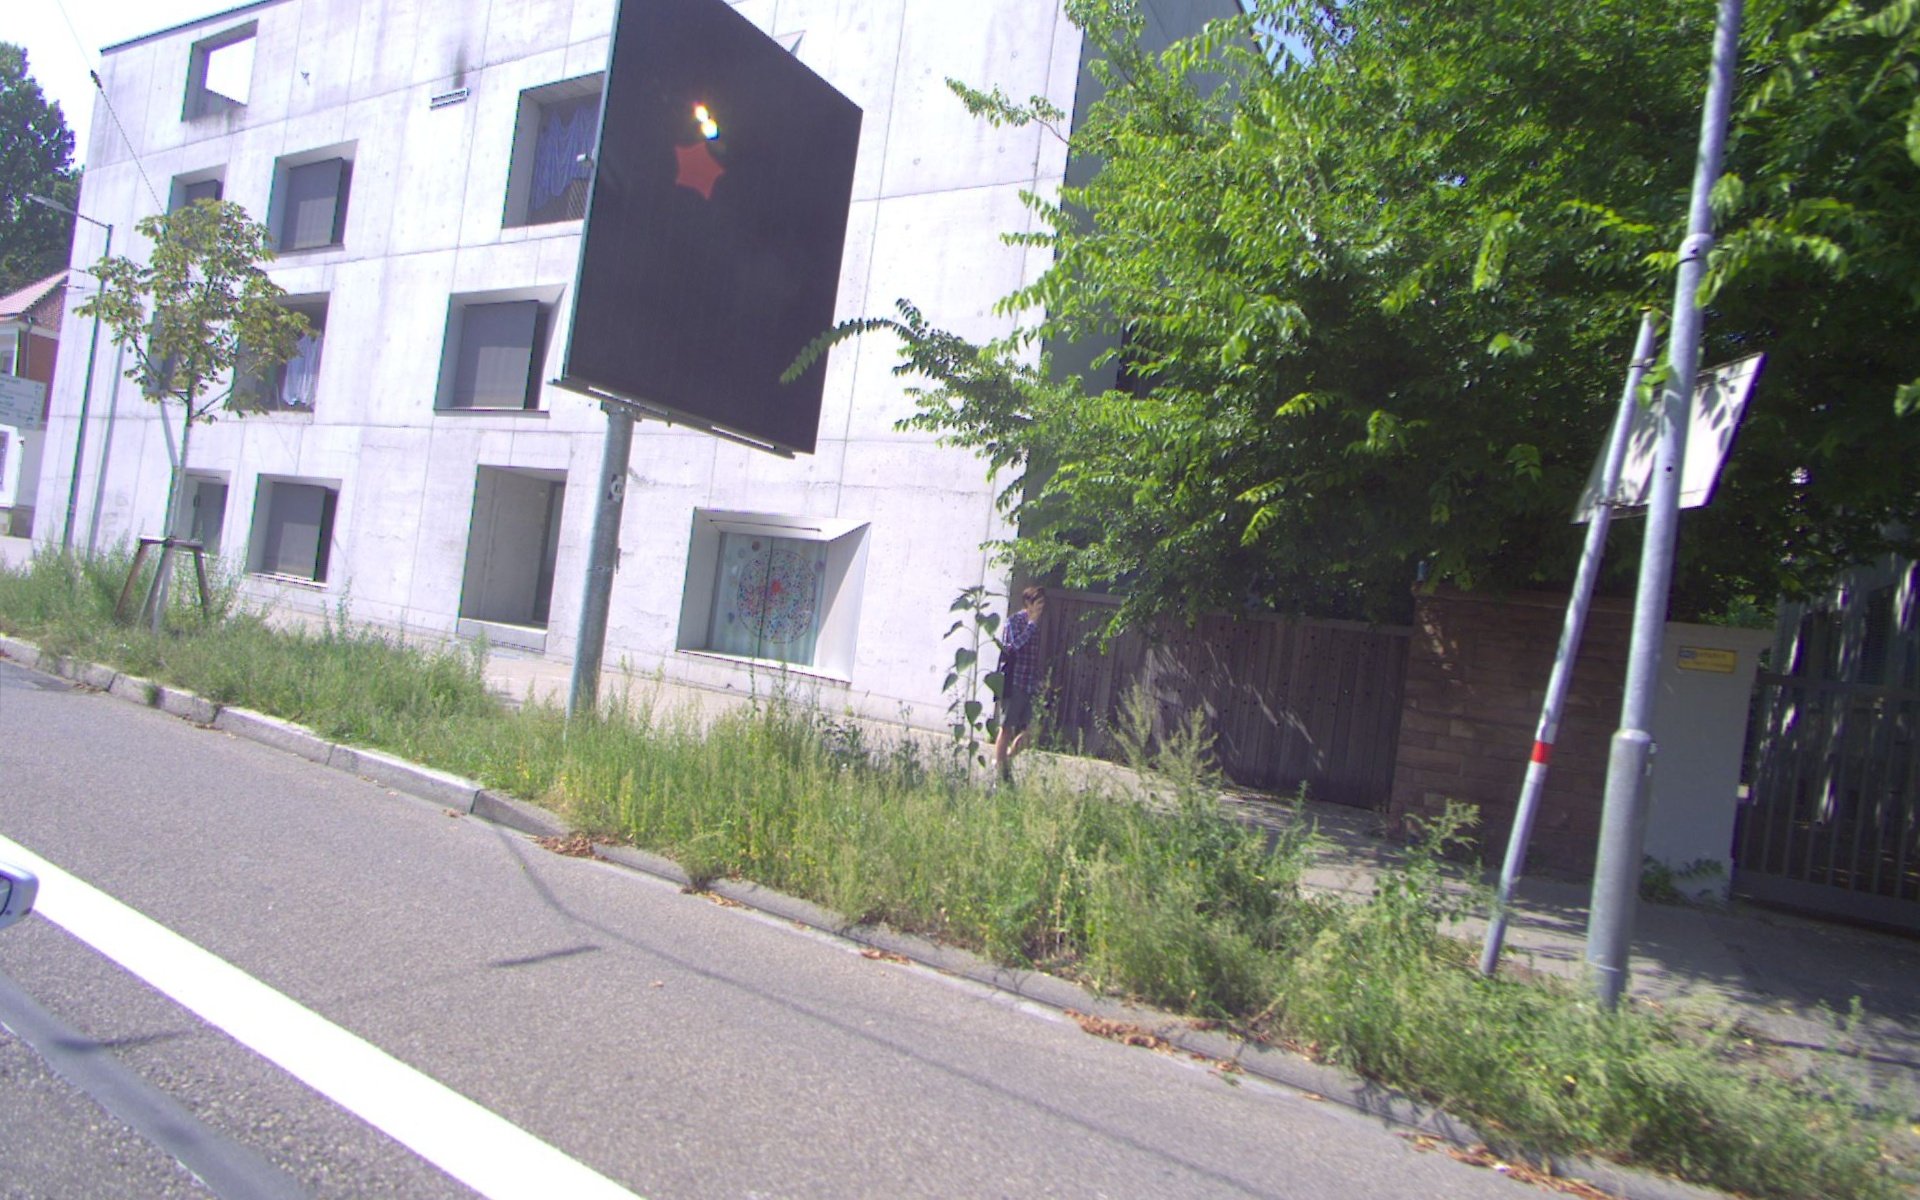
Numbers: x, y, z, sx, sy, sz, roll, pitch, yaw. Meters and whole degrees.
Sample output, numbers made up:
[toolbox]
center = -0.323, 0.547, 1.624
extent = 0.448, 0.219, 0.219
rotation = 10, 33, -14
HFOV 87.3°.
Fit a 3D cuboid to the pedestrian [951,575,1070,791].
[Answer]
[pedestrian]
center = 0.450, 0.720, 8.787
extent = 0.569, 1.752, 0.693
rotation = 7, 0, 31
